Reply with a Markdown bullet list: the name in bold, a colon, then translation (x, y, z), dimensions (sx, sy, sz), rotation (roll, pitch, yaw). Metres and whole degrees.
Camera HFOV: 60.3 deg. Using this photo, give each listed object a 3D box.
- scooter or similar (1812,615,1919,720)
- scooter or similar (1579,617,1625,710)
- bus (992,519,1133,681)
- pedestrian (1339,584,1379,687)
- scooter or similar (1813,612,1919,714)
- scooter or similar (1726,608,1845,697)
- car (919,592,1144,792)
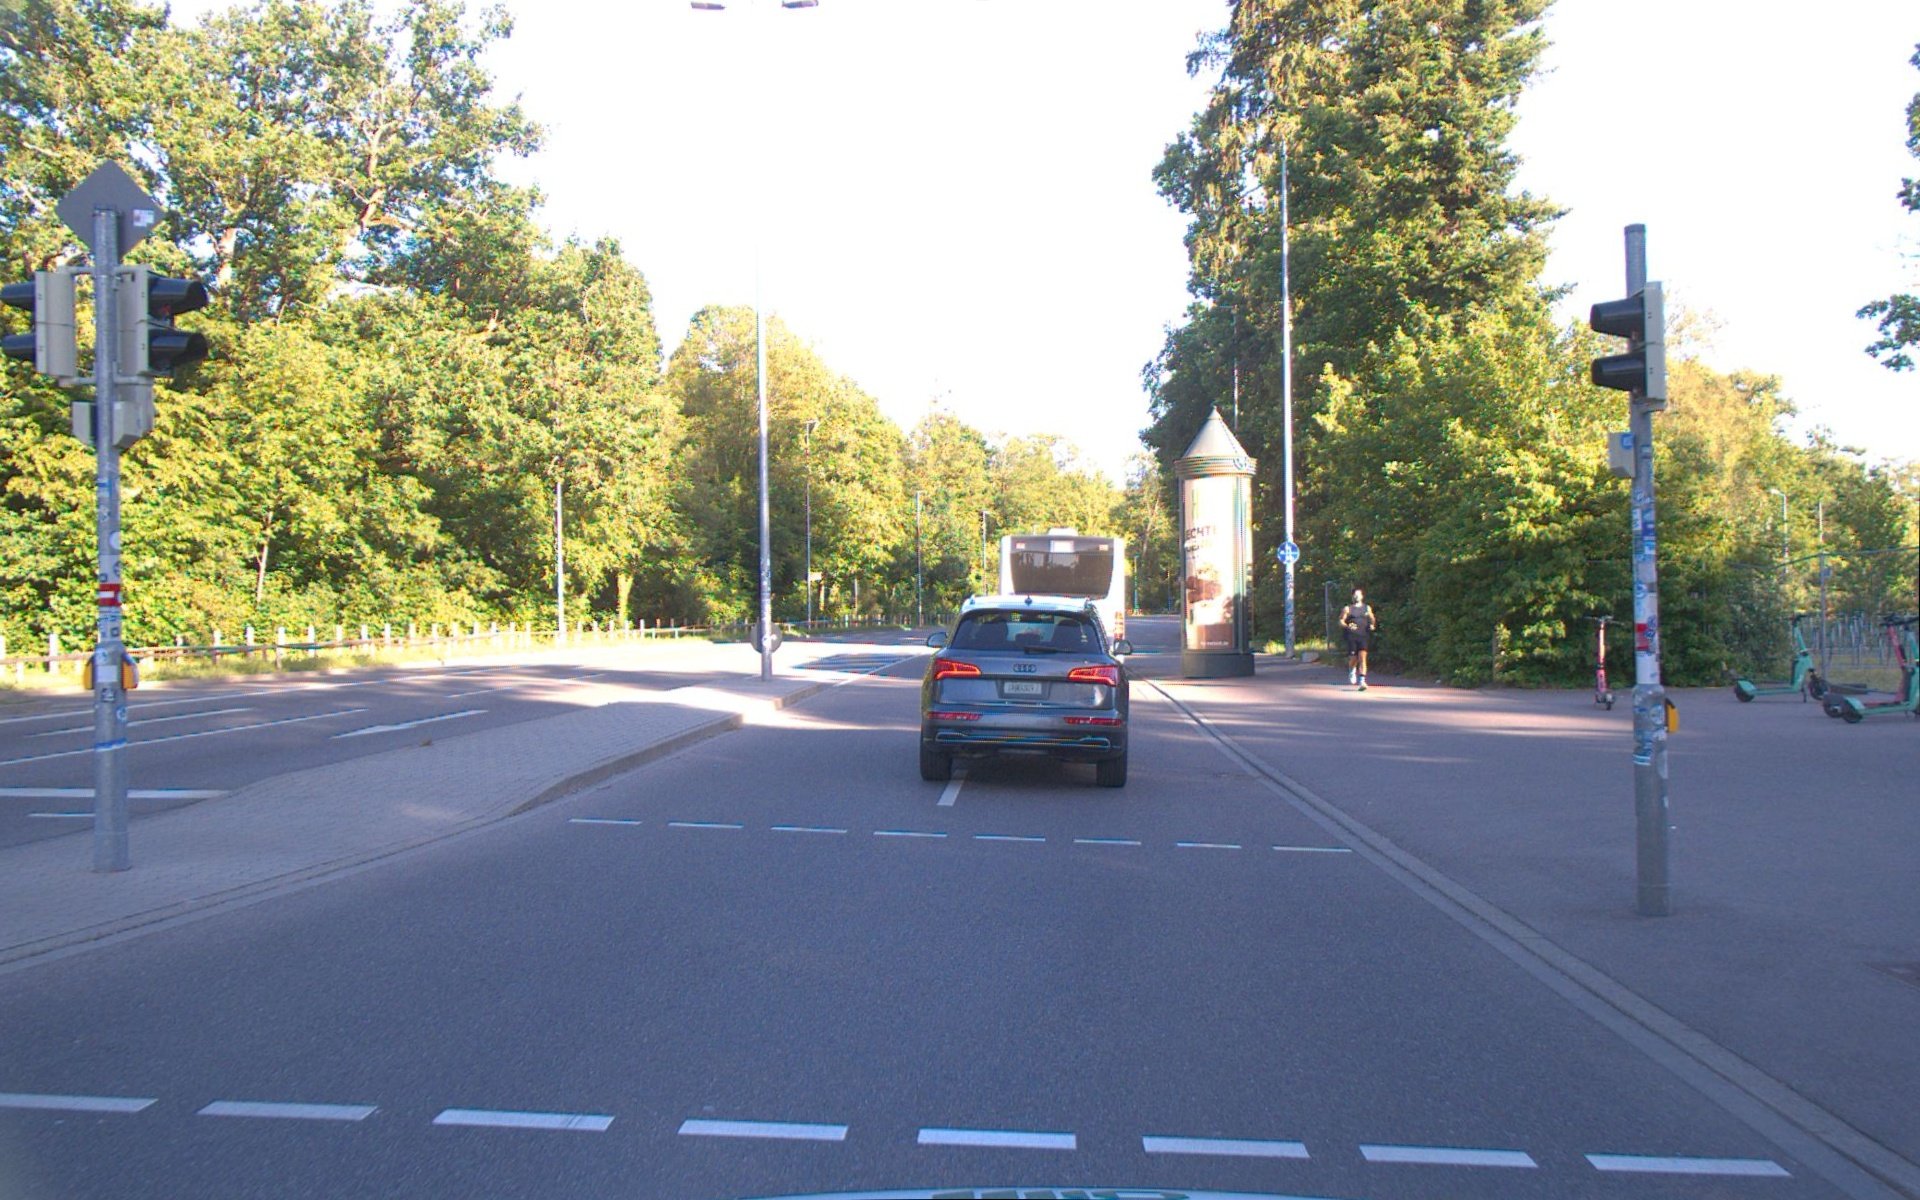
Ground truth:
- **scooter or similar**: translation (10.589, 0.773, 19.083), dimensions (1.238, 1.167, 0.394), rotation (-2, -2, 9)
- **scooter or similar**: translation (8.729, 0.843, 22.515), dimensions (0.275, 1.192, 1.410), rotation (-2, 0, 10)
- **bus**: translation (2.099, 0.018, 38.020), dimensions (2.634, 3.096, 12.042), rotation (1, 0, 1)
- **pedestrian**: translation (6.847, 0.603, 28.412), dimensions (0.612, 1.718, 0.883), rotation (1, 0, 11)
- **scooter or similar**: translation (10.859, 0.749, 19.674), dimensions (1.220, 1.187, 0.394), rotation (-2, -2, 27)
- **scooter or similar**: translation (11.315, 0.731, 22.686), dimensions (1.412, 1.187, 0.393), rotation (-2, -2, 31)
- **car**: translation (0.631, 0.767, 16.068), dimensions (1.854, 1.633, 4.545), rotation (1, 0, 1)
